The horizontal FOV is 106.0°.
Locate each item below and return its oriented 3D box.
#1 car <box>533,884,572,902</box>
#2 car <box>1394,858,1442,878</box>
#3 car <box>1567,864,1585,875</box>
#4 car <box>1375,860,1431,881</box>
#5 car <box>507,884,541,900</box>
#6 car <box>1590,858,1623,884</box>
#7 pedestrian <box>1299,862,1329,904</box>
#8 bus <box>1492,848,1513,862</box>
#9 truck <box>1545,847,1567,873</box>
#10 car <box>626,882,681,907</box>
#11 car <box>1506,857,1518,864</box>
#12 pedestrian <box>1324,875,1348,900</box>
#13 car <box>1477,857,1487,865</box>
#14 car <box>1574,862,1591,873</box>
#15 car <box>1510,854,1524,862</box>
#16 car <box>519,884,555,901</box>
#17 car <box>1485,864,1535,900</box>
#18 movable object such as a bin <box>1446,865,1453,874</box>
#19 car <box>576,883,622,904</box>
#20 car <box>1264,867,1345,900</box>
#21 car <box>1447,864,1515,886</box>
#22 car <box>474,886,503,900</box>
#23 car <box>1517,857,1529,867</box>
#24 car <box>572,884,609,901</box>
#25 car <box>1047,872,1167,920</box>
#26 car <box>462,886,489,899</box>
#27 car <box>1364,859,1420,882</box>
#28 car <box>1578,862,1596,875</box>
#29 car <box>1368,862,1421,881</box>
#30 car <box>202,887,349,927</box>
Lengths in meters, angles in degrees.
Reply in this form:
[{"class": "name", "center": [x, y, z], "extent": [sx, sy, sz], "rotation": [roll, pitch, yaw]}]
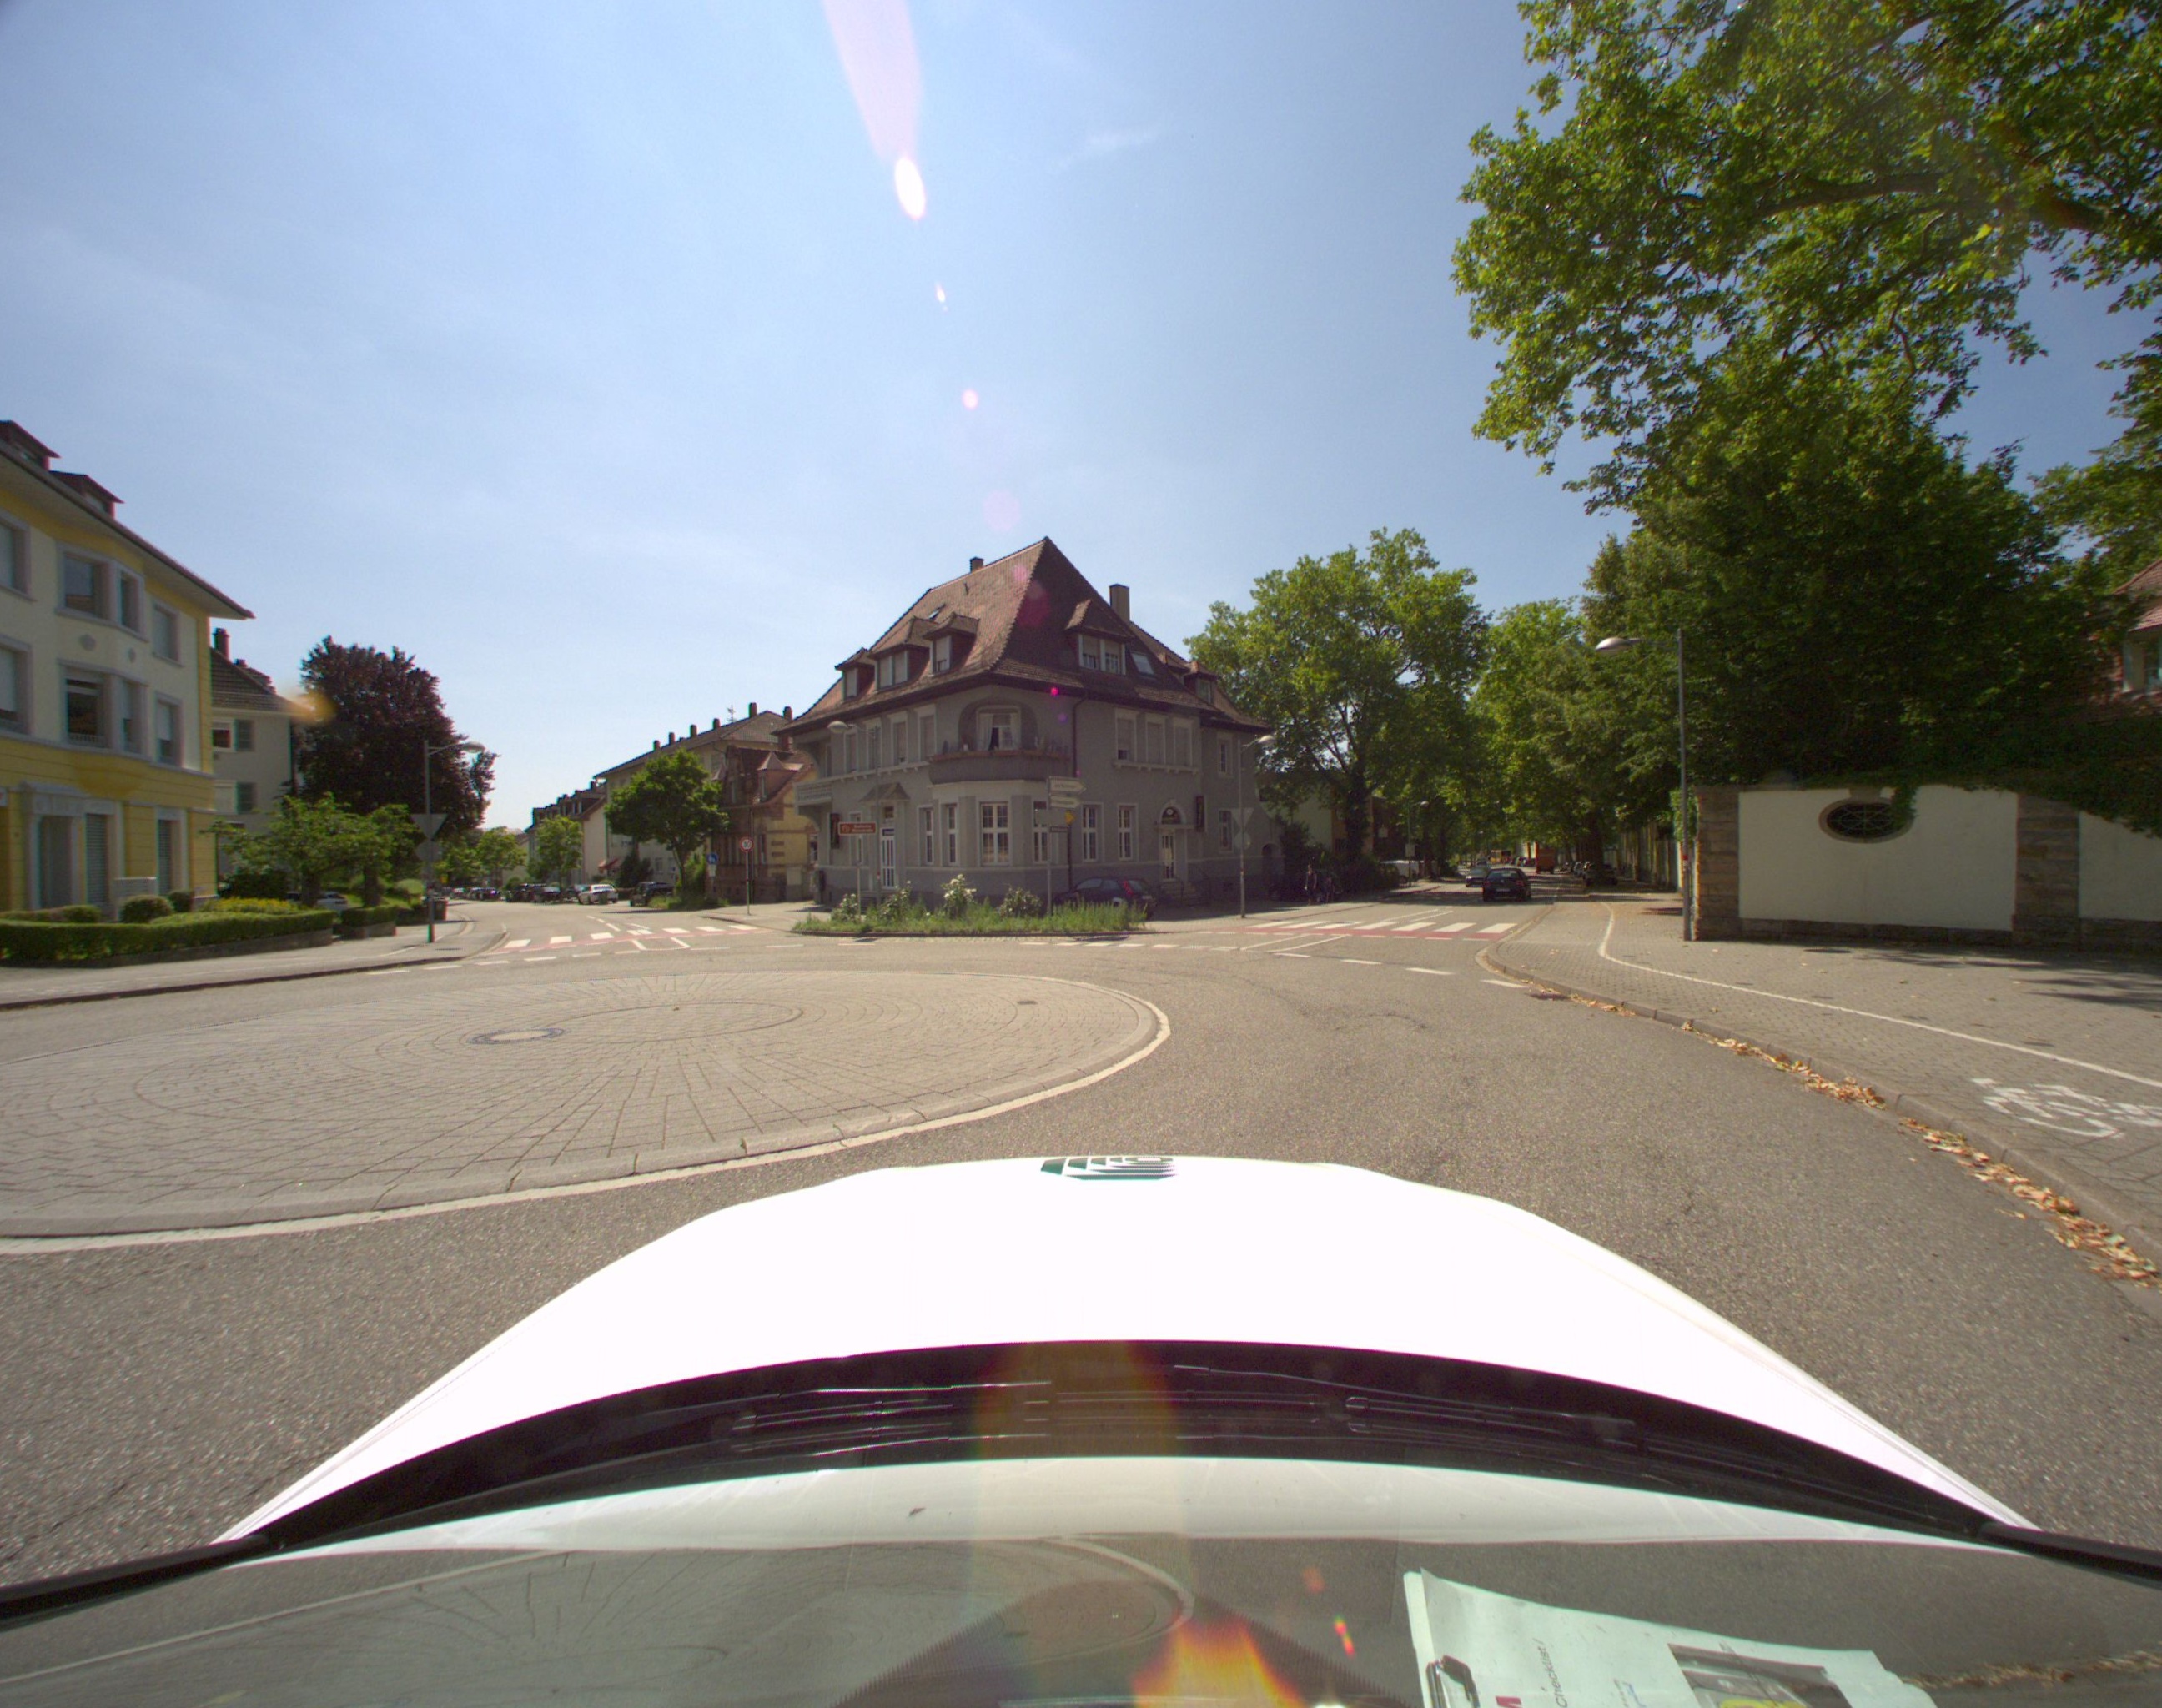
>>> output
[{"class": "car", "center": [-47.020, 3.439, 72.415], "extent": [2.012, 1.509, 4.364], "rotation": [0, -2, -45]}, {"class": "car", "center": [32.520, 1.342, 78.513], "extent": [4.090, 1.804, 1.915], "rotation": [1, 0, 28]}, {"class": "car", "center": [69.583, 2.155, 114.536], "extent": [1.750, 1.374, 3.751], "rotation": [-3, -2, 26]}, {"class": "car", "center": [28.311, 1.417, 71.534], "extent": [4.382, 1.804, 1.915], "rotation": [1, 0, 28]}, {"class": "car", "center": [-55.104, 3.775, 80.530], "extent": [2.012, 1.509, 4.364], "rotation": [0, -2, -45]}, {"class": "car", "center": [34.851, 1.116, 54.080], "extent": [1.724, 1.557, 4.810], "rotation": [-4, -2, 32]}, {"class": "pedestrian", "center": [9.960, 1.238, 34.829], "extent": [0.863, 1.742, 1.119], "rotation": [-2, -2, 37]}, {"class": "bus", "center": [99.119, 0.325, 191.459], "extent": [2.642, 3.151, 11.250], "rotation": [-2, -2, 19]}, {"class": "truck", "center": [59.972, 0.762, 102.847], "extent": [2.348, 3.134, 5.804], "rotation": [-2, -2, 30]}, {"class": "car", "center": [-27.986, 2.622, 53.276], "extent": [2.012, 1.509, 4.364], "rotation": [0, -2, -45]}, {"class": "car", "center": [93.445, 1.440, 176.485], "extent": [1.752, 1.374, 3.747], "rotation": [-3, -2, 19]}, {"class": "pedestrian", "center": [11.741, 1.555, 37.490], "extent": [0.747, 1.122, 0.903], "rotation": [-2, -2, 42]}, {"class": "car", "center": [86.434, 1.539, 175.528], "extent": [1.975, 1.666, 4.023], "rotation": [-1, -2, 26]}, {"class": "car", "center": [65.948, 1.773, 107.166], "extent": [1.749, 1.466, 3.899], "rotation": [-3, -2, 29]}, {"class": "car", "center": [90.443, 0.845, 168.936], "extent": [1.752, 1.374, 3.747], "rotation": [-3, -2, 18]}, {"class": "car", "center": [-51.345, 3.623, 76.889], "extent": [2.012, 1.509, 4.364], "rotation": [0, -2, -45]}, {"class": "car", "center": [18.865, 1.187, 35.745], "extent": [1.694, 1.447, 4.083], "rotation": [-2, -1, 31]}, {"class": "movable object such as a bin", "center": [42.388, 1.807, 93.743], "extent": [0.617, 1.048, 0.624], "rotation": [-2, -1, 37]}, {"class": "car", "center": [-36.570, 2.987, 61.716], "extent": [2.012, 1.509, 4.364], "rotation": [0, -2, -45]}, {"class": "car", "center": [10.879, 1.436, 39.720], "extent": [3.349, 1.547, 1.735], "rotation": [-2, -2, 41]}, {"class": "car", "center": [28.368, 1.511, 57.870], "extent": [1.774, 1.426, 4.364], "rotation": [-1, -2, -19]}, {"class": "car", "center": [-69.100, 4.526, 94.967], "extent": [2.012, 1.509, 4.364], "rotation": [0, -2, -45]}, {"class": "car", "center": [85.744, 1.563, 158.152], "extent": [1.862, 1.686, 4.023], "rotation": [-1, -2, 26]}, {"class": "car", "center": [-46.849, 3.630, 77.727], "extent": [2.012, 1.509, 4.364], "rotation": [0, -2, -45]}, {"class": "car", "center": [0.825, 1.376, 27.315], "extent": [3.744, 1.460, 1.735], "rotation": [-2, -2, 41]}, {"class": "car", "center": [-73.602, 4.641, 99.038], "extent": [2.012, 1.509, 4.364], "rotation": [0, -2, -45]}, {"class": "car", "center": [24.848, 1.315, 65.148], "extent": [3.949, 1.793, 1.879], "rotation": [1, 0, 28]}, {"class": "car", "center": [59.775, 1.727, 96.186], "extent": [1.562, 1.466, 3.899], "rotation": [-3, -2, 29]}, {"class": "car", "center": [26.680, 1.453, 69.323], "extent": [3.949, 1.515, 1.879], "rotation": [1, 0, 28]}, {"class": "car", "center": [-35.572, 2.285, 36.055], "extent": [1.974, 1.509, 4.446], "rotation": [-2, -2, 39]}]
